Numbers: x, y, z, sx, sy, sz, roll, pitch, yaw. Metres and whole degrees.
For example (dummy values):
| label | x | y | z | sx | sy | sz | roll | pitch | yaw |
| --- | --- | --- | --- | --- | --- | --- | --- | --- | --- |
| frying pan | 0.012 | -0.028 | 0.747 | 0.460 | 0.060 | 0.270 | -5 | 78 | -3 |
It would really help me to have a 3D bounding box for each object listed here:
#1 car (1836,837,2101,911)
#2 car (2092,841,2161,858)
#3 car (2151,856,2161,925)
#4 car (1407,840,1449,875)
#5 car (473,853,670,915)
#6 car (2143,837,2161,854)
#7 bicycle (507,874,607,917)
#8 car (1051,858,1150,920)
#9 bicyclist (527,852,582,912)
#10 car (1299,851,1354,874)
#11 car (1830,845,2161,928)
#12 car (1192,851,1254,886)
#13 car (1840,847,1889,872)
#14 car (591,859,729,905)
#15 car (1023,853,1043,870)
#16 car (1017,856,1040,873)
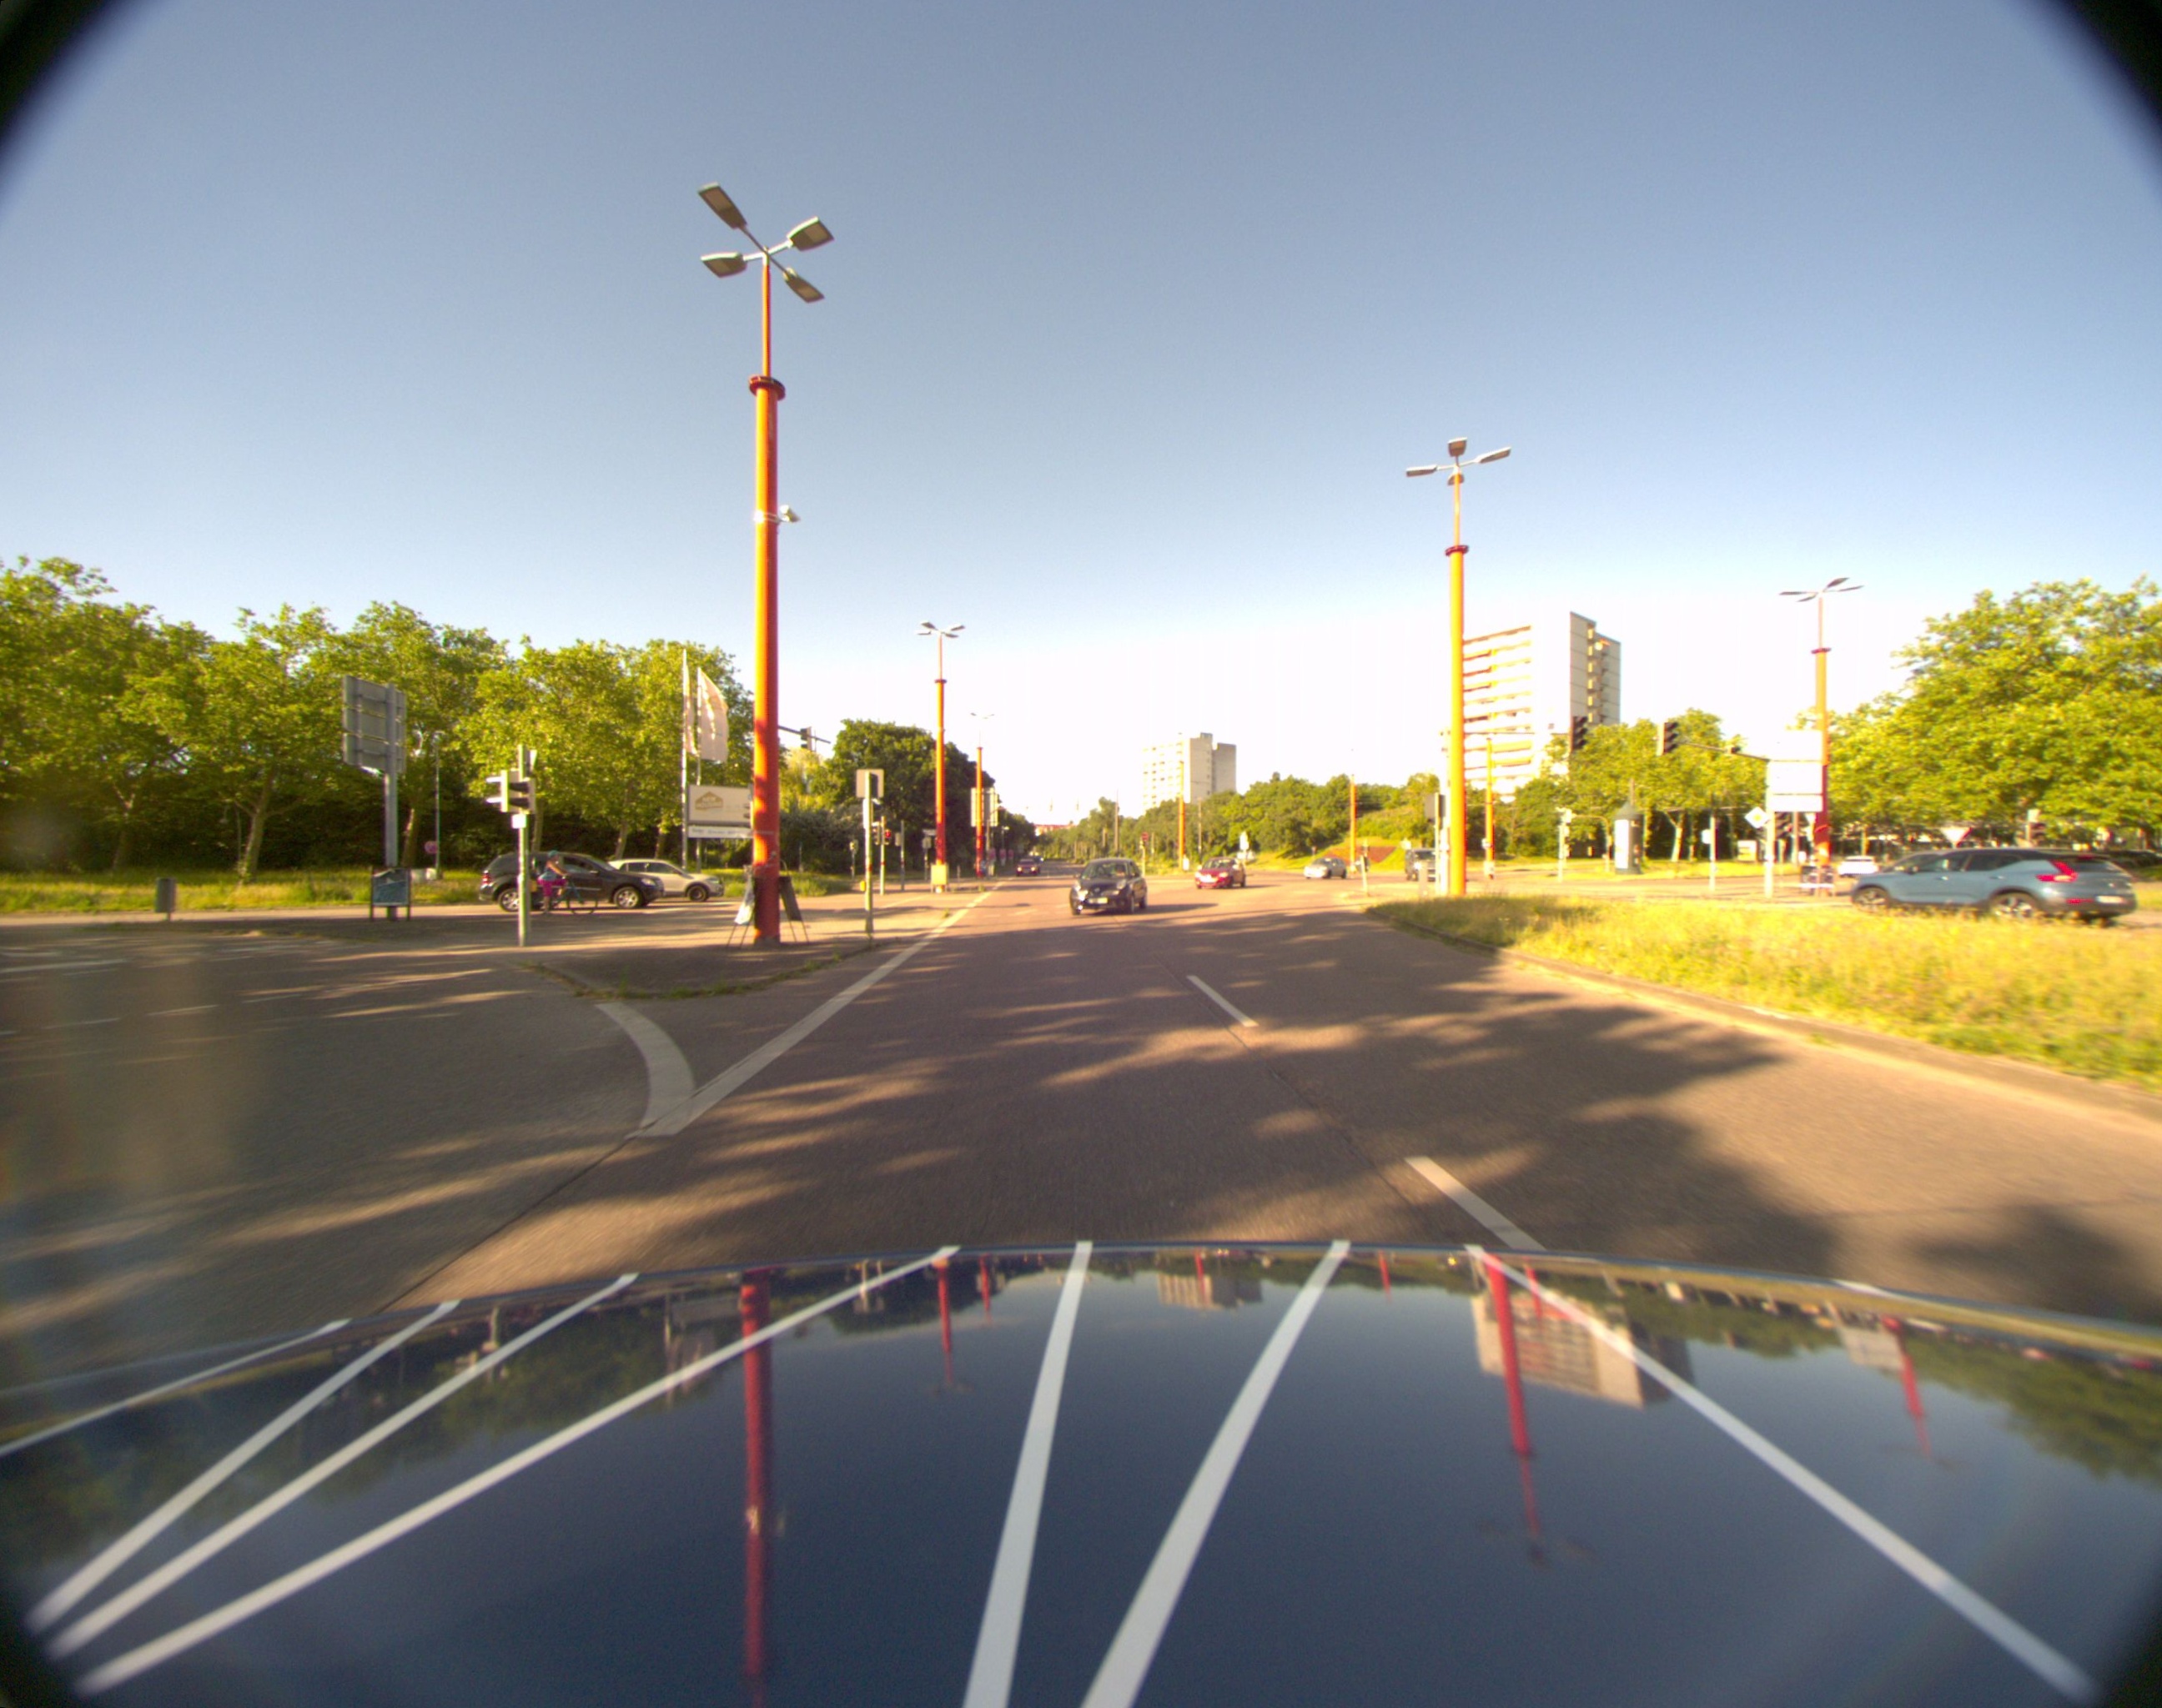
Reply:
| label | x | y | z | sx | sy | sz | roll | pitch | yaw |
| --- | --- | --- | --- | --- | --- | --- | --- | --- | --- |
| car | 23.830 | 0.490 | 20.725 | 1.903 | 1.765 | 4.445 | 1 | 0 | -3 |
| car | 99.037 | -0.377 | 71.693 | 4.040 | 1.490 | 1.798 | -1 | -1 | 20 |
| car | 23.878 | 0.787 | 13.961 | 1.903 | 1.466 | 4.564 | 1 | 0 | -3 |
| car | 23.037 | 0.235 | 50.641 | 2.037 | 2.191 | 5.669 | -1 | 0 | 20 |
| car | -15.320 | 0.863 | 23.190 | 4.658 | 1.716 | 1.905 | 0 | 0 | -20 |
| car | 125.637 | -1.033 | 86.956 | 4.423 | 1.907 | 2.025 | -1 | -1 | 17 |
| bicycle | -13.815 | 1.071 | 20.090 | 2.016 | 1.085 | 0.765 | 0 | 0 | -13 |
| car | 0.662 | 0.855 | 20.560 | 1.737 | 1.474 | 4.627 | 0 | 0 | 14 |
| bicyclist | -13.892 | 0.729 | 20.064 | 0.981 | 1.548 | 0.760 | 0 | 1 | -13 |
| car | 17.401 | 0.587 | 53.718 | 1.909 | 1.549 | 4.736 | -1 | 0 | 42 |
| car | 20.278 | 0.636 | 17.245 | 1.903 | 1.601 | 4.564 | 1 | 0 | -3 |
| car | 6.835 | 0.643 | 36.197 | 1.769 | 1.549 | 4.735 | -1 | 0 | 25 |
| car | 52.755 | 0.363 | 51.138 | 4.269 | 1.542 | 1.898 | 0 | 3 | -39 |
| car | -14.970 | 0.967 | 27.281 | 4.095 | 1.529 | 1.770 | 0 | 0 | -21 |
| car | -5.093 | 0.775 | 81.382 | 1.999 | 1.722 | 4.817 | 0 | 0 | -2 |
| car | -4.735 | 0.919 | 68.261 | 1.999 | 1.486 | 4.288 | 0 | 0 | -4 |
